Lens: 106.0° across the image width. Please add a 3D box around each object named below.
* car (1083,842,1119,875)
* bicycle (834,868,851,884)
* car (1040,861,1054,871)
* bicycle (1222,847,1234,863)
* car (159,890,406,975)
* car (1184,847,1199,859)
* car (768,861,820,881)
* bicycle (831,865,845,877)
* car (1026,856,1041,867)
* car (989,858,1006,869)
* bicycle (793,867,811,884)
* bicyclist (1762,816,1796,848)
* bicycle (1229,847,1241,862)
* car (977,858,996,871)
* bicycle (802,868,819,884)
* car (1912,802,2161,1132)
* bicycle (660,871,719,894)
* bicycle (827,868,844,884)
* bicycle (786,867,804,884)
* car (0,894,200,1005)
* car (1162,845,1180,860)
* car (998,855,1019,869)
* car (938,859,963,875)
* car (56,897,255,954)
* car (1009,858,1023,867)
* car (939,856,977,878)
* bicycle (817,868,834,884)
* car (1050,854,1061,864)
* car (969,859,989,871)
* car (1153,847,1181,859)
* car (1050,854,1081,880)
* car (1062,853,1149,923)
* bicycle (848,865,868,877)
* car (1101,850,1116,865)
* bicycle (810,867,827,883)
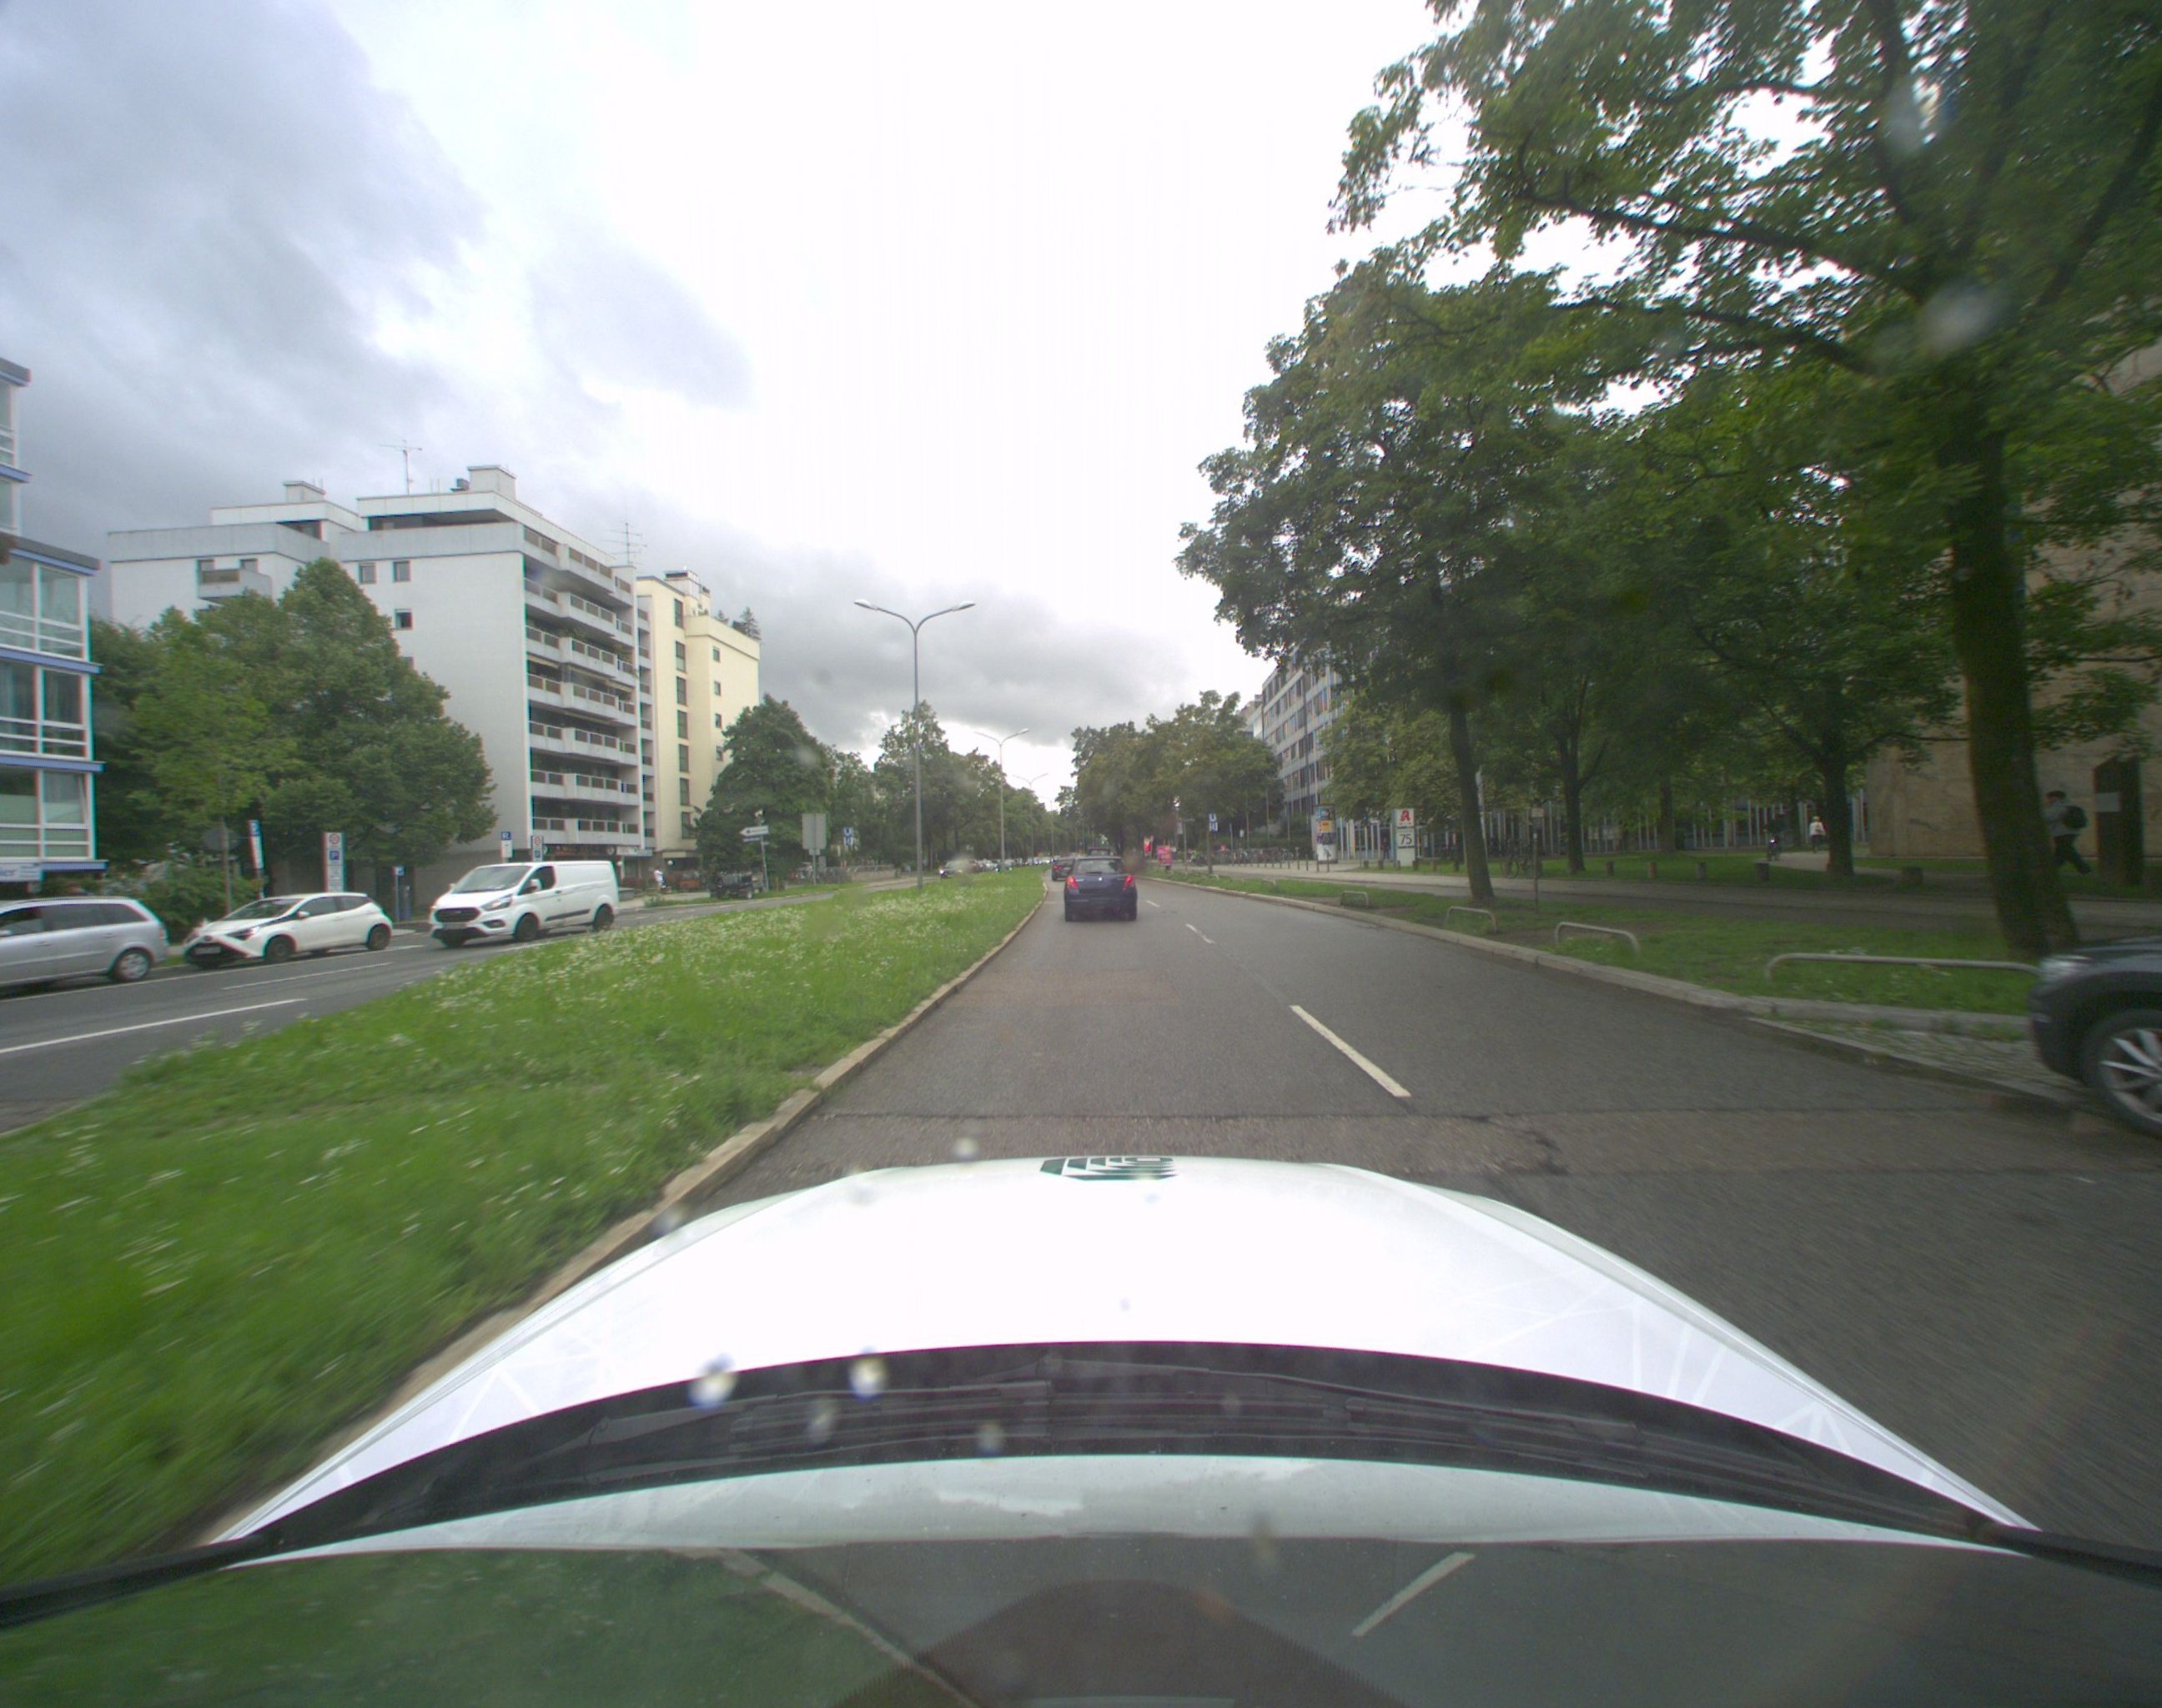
[{"bbox_3d":[1.586,0.331,62.798,2.407,2.444,5.093,-1,0,4],"label":"car"},{"bbox_3d":[-17.006,1.549,58.196,0.406,1.089,2.087,2,0,5],"label":"bicycle"},{"bbox_3d":[-5.502,1.916,133.326,1.908,1.484,4.867,-3,0,2],"label":"car"},{"bbox_3d":[11.510,0.053,63.845,0.486,1.189,1.954,-3,0,0],"label":"bicycle"},{"bbox_3d":[-17.829,1.681,18.487,1.641,1.489,3.903,-3,0,1],"label":"car"},{"bbox_3d":[17.748,-0.133,130.953,1.835,1.818,4.473,-3,0,1],"label":"car"},{"bbox_3d":[-25.781,1.550,73.152,3.969,1.589,1.751,-3,0,4],"label":"car"},{"bbox_3d":[-23.601,1.653,79.159,0.576,1.099,2.034,-3,0,4],"label":"bicycle"},{"bbox_3d":[-6.695,0.996,114.600,1.685,1.402,3.969,-3,0,2],"label":"car"},{"bbox_3d":[-11.973,1.317,116.916,1.729,1.448,4.825,0,0,2],"label":"car"},{"bbox_3d":[-19.918,1.527,58.136,0.406,1.103,1.957,2,0,5],"label":"bicycle"},{"bbox_3d":[25.864,-0.807,30.179,0.964,1.129,0.718,-3,0,-38],"label":"bicyclist"},{"bbox_3d":[12.089,0.031,63.847,0.486,1.189,1.954,-3,0,0],"label":"bicycle"},{"bbox_3d":[-12.438,1.371,106.933,1.731,1.529,4.479,-1,0,3],"label":"car"},{"bbox_3d":[-19.334,1.573,58.237,0.406,1.030,1.957,2,0,5],"label":"bicycle"},{"bbox_3d":[6.107,0.503,2.753,1.855,1.590,4.602,-3,0,0],"label":"car"},{"bbox_3d":[-24.213,1.740,50.434,3.310,1.283,0.789,2,0,6],"label":"bicycle"},{"bbox_3d":[-17.533,1.545,58.171,0.406,1.078,1.957,2,0,5],"label":"bicycle"},{"bbox_3d":[-20.434,1.524,58.150,0.406,1.097,1.957,2,0,5],"label":"bicycle"},{"bbox_3d":[-18.033,1.619,13.631,1.696,1.616,4.656,-3,0,-5],"label":"car"},{"bbox_3d":[14.357,-0.226,130.501,2.257,2.306,6.269,-3,0,1],"label":"car"},{"bbox_3d":[-7.844,0.831,88.654,1.776,1.405,4.102,-3,0,1],"label":"car"},{"bbox_3d":[-13.677,1.312,85.623,1.639,1.614,3.824,-1,0,4],"label":"car"},{"bbox_3d":[-34.395,2.634,30.381,5.084,1.682,2.000,-3,0,1],"label":"car"},{"bbox_3d":[-10.843,1.351,135.660,1.618,1.423,4.196,0,0,4],"label":"car"},{"bbox_3d":[-9.280,0.926,61.667,1.949,1.480,4.263,-3,0,3],"label":"car"},{"bbox_3d":[-18.203,1.565,58.152,0.406,1.040,1.957,2,0,5],"label":"bicycle"},{"bbox_3d":[-4.870,0.932,155.692,1.759,1.624,4.380,-3,0,3],"label":"car"},{"bbox_3d":[-12.751,1.388,102.062,1.731,1.483,4.337,0,0,3],"label":"car"},{"bbox_3d":[17.641,-0.201,166.610,5.449,2.083,2.148,-2,0,2],"label":"car"},{"bbox_3d":[-1.026,0.792,51.628,1.795,1.499,3.656,-3,0,-3],"label":"car"},{"bbox_3d":[0.553,0.754,19.853,1.890,1.499,3.659,-1,0,0],"label":"car"},{"bbox_3d":[-21.830,1.665,79.763,1.755,1.007,0.437,-3,0,2],"label":"bicycle"},{"bbox_3d":[4.217,0.571,123.712,1.979,2.157,5.560,-3,0,3],"label":"car"},{"bbox_3d":[-18.748,1.499,58.226,0.406,1.072,1.957,2,0,5],"label":"bicycle"}]
